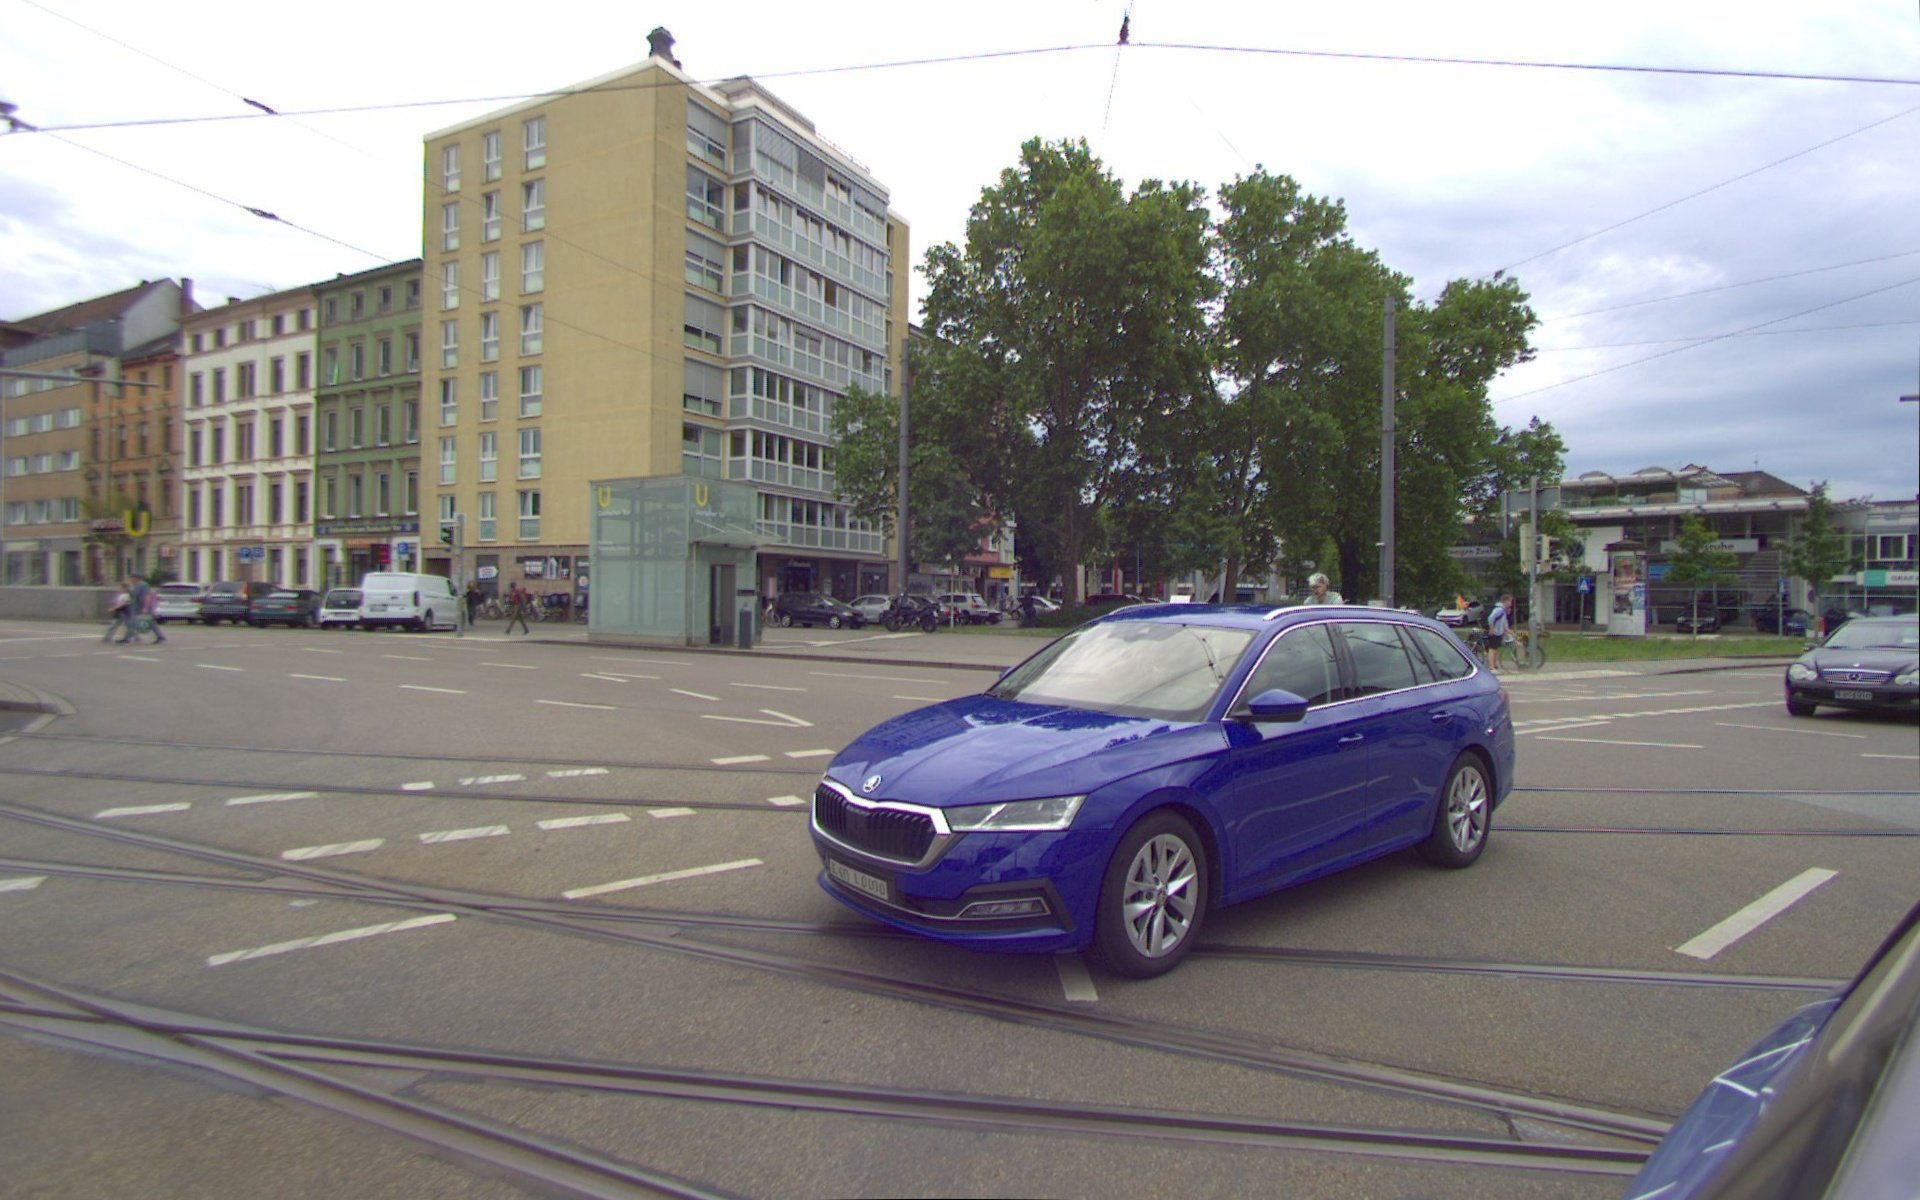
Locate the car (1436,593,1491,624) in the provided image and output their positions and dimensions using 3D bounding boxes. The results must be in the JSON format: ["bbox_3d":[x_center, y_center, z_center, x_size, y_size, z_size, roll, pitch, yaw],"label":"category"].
[{"bbox_3d":[34.650,0.548,69.605,4.161,1.615,1.954,-8,5,-41],"label":"car"}]

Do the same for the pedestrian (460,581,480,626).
[{"bbox_3d":[-19.259,0.142,39.796,0.605,1.737,0.825,1,0,-32],"label":"pedestrian"}]

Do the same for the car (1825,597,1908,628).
[{"bbox_3d":[48.852,0.663,54.637,1.767,1.580,4.012,0,0,17],"label":"car"}]

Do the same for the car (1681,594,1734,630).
[{"bbox_3d":[43.551,0.669,58.934,1.950,1.662,4.605,0,4,43],"label":"car"}]

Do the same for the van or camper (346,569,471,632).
[{"bbox_3d":[-18.858,-0.014,34.925,2.127,2.003,5.476,1,0,-10],"label":"van or camper"}]

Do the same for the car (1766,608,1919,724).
[{"bbox_3d":[13.223,0.821,14.072,4.335,1.387,1.772,0,0,-31],"label":"car"}]

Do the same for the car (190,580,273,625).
[{"bbox_3d":[-27.439,0.081,38.233,1.852,1.602,3.744,0,0,-25],"label":"car"}]

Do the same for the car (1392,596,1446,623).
[{"bbox_3d":[32.574,0.663,71.761,4.160,1.484,1.954,-7,4,-41],"label":"car"}]

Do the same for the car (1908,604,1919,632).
[{"bbox_3d":[52.498,0.948,53.066,1.701,1.459,3.903,0,0,-38],"label":"car"}]

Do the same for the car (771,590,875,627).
[{"bbox_3d":[-5.865,0.340,43.265,4.129,1.461,1.823,1,0,29],"label":"car"}]

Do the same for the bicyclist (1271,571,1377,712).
[{"bbox_3d":[4.437,0.489,12.344,0.915,1.639,0.791,0,-2,-33],"label":"bicyclist"}]

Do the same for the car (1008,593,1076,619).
[{"bbox_3d":[5.302,0.376,65.344,3.952,1.634,1.986,1,0,22],"label":"car"}]

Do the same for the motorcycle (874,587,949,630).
[{"bbox_3d":[-1.611,0.261,33.731,2.265,1.383,1.040,1,0,21],"label":"motorcycle"}]

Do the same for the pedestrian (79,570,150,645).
[{"bbox_3d":[-18.677,0.162,22.374,0.755,1.632,0.950,0,0,6],"label":"pedestrian"}]

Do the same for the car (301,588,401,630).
[{"bbox_3d":[-21.803,0.310,36.392,1.701,1.435,3.743,0,0,-7],"label":"car"}]

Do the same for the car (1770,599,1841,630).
[{"bbox_3d":[46.471,0.764,55.720,1.936,1.544,4.196,0,1,24],"label":"car"}]

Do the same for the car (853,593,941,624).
[{"bbox_3d":[-3.112,0.396,50.264,3.951,1.460,1.987,1,0,21],"label":"car"}]

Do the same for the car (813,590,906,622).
[{"bbox_3d":[-4.759,0.283,47.914,3.953,1.483,1.985,0,0,23],"label":"car"}]

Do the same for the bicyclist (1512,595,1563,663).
[{"bbox_3d":[13.638,0.674,23.918,0.883,1.540,0.662,3,1,41],"label":"bicyclist"}]

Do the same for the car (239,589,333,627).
[{"bbox_3d":[-24.264,0.266,36.568,1.645,1.320,3.745,0,0,-14],"label":"car"}]

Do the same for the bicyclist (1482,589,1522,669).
[{"bbox_3d":[12.321,0.645,22.999,0.730,1.773,0.579,1,2,34],"label":"bicyclist"}]

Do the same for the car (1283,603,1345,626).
[{"bbox_3d":[26.763,1.089,76.586,1.627,1.531,4.144,-5,3,-40],"label":"car"}]

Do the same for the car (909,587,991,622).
[{"bbox_3d":[-0.542,0.246,54.296,3.952,1.745,1.986,-1,-1,22],"label":"car"}]

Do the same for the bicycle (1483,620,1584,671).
[{"bbox_3d":[13.481,1.053,23.818,1.939,1.010,0.593,5,3,42],"label":"bicycle"}]

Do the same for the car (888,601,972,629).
[{"bbox_3d":[-1.530,0.757,52.035,3.951,1.352,1.824,1,0,21],"label":"car"}]

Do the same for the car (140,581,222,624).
[{"bbox_3d":[-30.201,0.080,39.346,1.700,1.607,3.744,0,0,-25],"label":"car"}]

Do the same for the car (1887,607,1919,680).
[{"bbox_3d":[21.562,0.896,21.695,3.859,1.502,1.709,0,-2,-36],"label":"car"}]

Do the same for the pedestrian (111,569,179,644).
[{"bbox_3d":[-17.926,0.133,22.275,0.771,1.622,0.895,0,0,6],"label":"pedestrian"}]

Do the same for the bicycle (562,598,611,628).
[{"bbox_3d":[-15.179,0.505,41.075,2.020,1.184,0.664,1,0,27],"label":"bicycle"}]

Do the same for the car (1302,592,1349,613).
[{"bbox_3d":[28.235,0.177,78.269,1.416,1.531,3.118,-5,3,-40],"label":"car"}]

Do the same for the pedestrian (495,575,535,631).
[{"bbox_3d":[-14.601,0.091,33.210,0.775,1.779,1.047,1,0,8],"label":"pedestrian"}]

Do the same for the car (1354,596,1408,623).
[{"bbox_3d":[30.706,0.646,73.750,4.161,1.530,1.954,-8,5,-41],"label":"car"}]

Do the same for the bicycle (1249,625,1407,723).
[{"bbox_3d":[4.521,0.861,12.376,1.977,1.093,0.764,0,-2,-33],"label":"bicycle"}]

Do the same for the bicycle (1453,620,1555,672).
[{"bbox_3d":[12.335,1.031,22.984,1.980,1.010,0.572,3,3,35],"label":"bicycle"}]

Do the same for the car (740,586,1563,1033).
[{"bbox_3d":[1.343,0.683,5.463,4.671,1.454,1.769,0,0,-39],"label":"car"}]

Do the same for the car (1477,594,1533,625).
[{"bbox_3d":[36.421,0.607,67.563,4.162,1.472,1.954,-10,6,-41],"label":"car"}]

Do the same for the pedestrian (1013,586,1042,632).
[{"bbox_3d":[2.763,0.367,41.476,0.862,1.842,0.886,0,-1,37],"label":"pedestrian"}]

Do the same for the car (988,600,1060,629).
[{"bbox_3d":[3.868,0.850,60.970,3.952,1.634,1.986,1,0,22],"label":"car"}]
